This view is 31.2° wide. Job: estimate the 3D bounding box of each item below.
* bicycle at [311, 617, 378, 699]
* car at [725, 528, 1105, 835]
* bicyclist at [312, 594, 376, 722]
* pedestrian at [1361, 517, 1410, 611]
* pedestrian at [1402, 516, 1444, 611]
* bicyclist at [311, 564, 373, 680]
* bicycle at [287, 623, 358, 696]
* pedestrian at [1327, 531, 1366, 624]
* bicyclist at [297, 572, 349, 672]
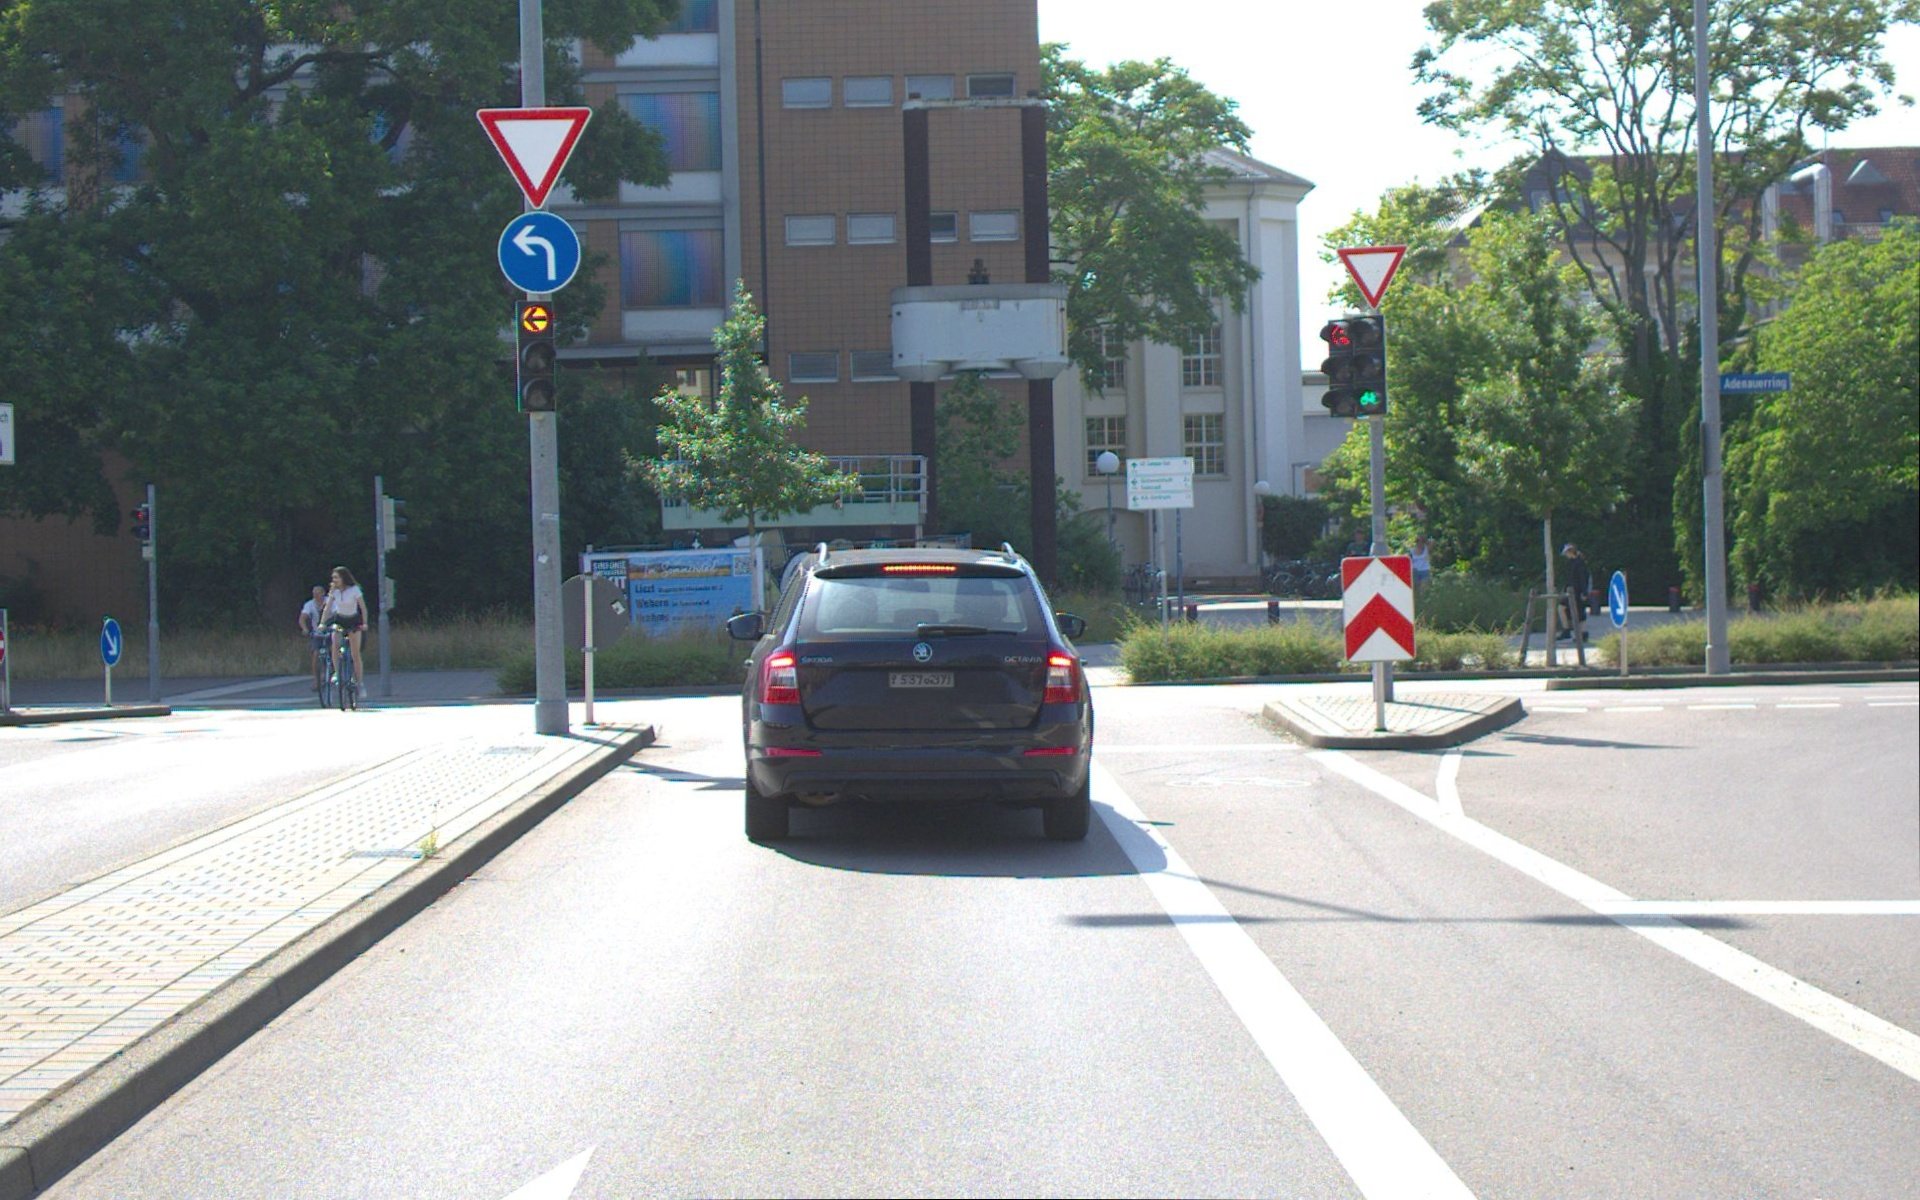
[{"bbox_3d":[-7.941,0.734,44.415,0.618,0.957,1.968,-4,1,-5],"label":"bicycle"},{"bbox_3d":[-0.220,0.354,18.049,1.780,1.438,3.818,0,1,0],"label":"car"},{"bbox_3d":[-7.918,0.737,44.190,0.618,1.576,1.014,-4,1,-5],"label":"bicyclist"},{"bbox_3d":[8.684,-0.745,70.166,0.794,1.868,0.638,-3,1,20],"label":"pedestrian"},{"bbox_3d":[9.309,-0.738,69.189,0.637,1.868,0.796,-3,1,-1],"label":"pedestrian"},{"bbox_3d":[-7.963,0.275,44.323,0.618,1.438,0.921,-4,1,-5],"label":"bicyclist"},{"bbox_3d":[-9.236,0.853,49.869,0.704,0.974,2.031,-2,1,-3],"label":"bicycle"},{"bbox_3d":[7.922,-0.460,70.447,0.597,1.868,0.638,2,0,23],"label":"pedestrian"},{"bbox_3d":[-9.239,0.312,49.894,0.539,1.412,1.030,-3,0,-2],"label":"bicyclist"}]
